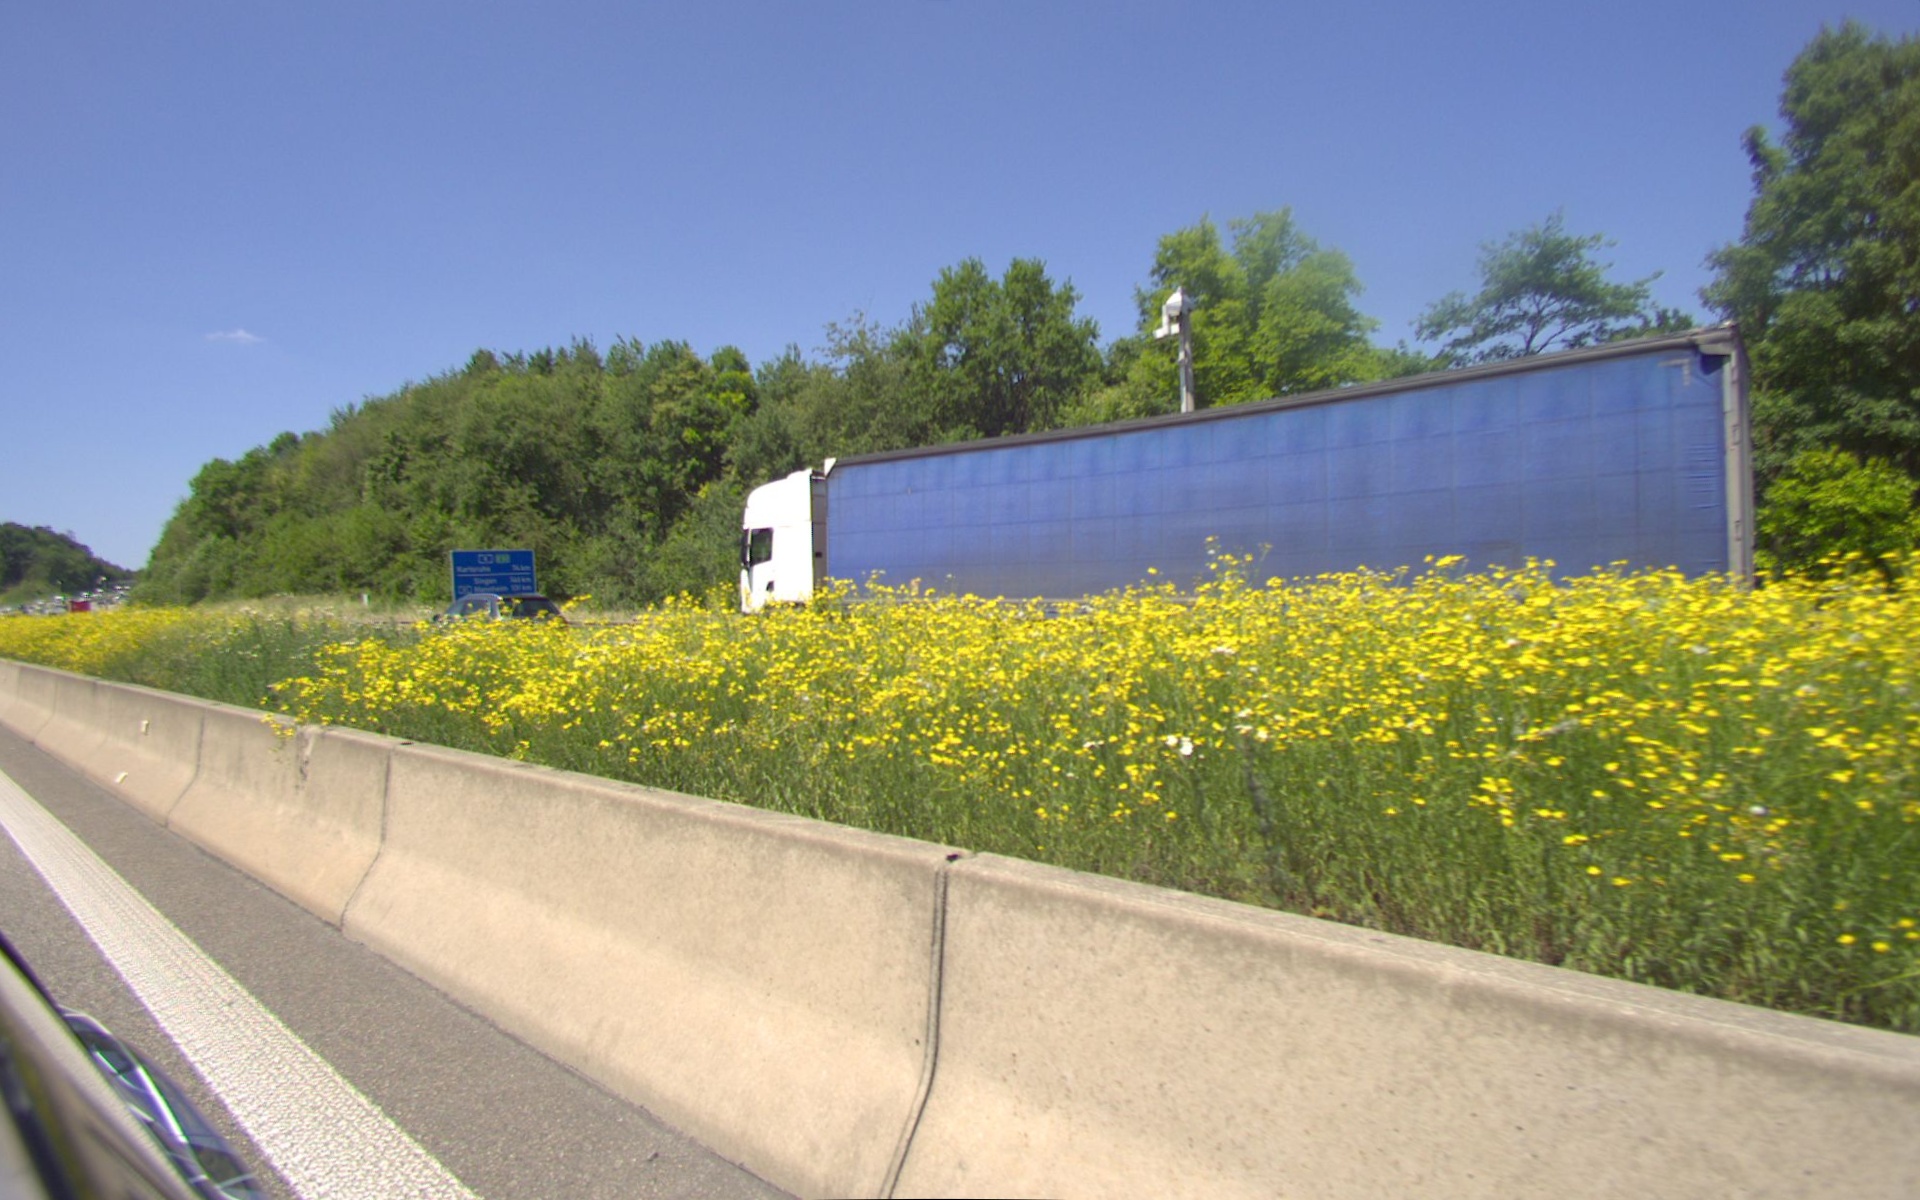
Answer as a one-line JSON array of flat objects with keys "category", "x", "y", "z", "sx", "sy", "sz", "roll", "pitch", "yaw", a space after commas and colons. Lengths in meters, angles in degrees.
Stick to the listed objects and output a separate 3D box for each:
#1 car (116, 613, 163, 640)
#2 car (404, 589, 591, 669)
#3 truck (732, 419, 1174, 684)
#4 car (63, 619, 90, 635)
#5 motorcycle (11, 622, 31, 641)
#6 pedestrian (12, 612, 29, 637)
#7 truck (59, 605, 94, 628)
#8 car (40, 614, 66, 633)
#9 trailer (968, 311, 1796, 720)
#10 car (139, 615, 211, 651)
[{"category": "car", "x": -57.241, "y": 1.839, "z": 70.580, "sx": 4.320, "sy": 1.778, "sz": 1.862, "roll": -2, "pitch": 0, "yaw": 41}, {"category": "car", "x": -10.255, "y": 0.600, "z": 22.283, "sx": 4.636, "sy": 1.573, "sz": 1.973, "roll": -1, "pitch": 0, "yaw": 41}, {"category": "truck", "x": -0.512, "y": -0.654, "z": 18.667, "sx": 8.408, "sy": 3.886, "sz": 2.720, "roll": -1, "pitch": 0, "yaw": 41}, {"category": "car", "x": -93.996, "y": 2.819, "z": 107.655, "sx": 4.118, "sy": 1.641, "sz": 1.756, "roll": -1, "pitch": -1, "yaw": 43}, {"category": "motorcycle", "x": -52.819, "y": 1.767, "z": 56.912, "sx": 1.475, "sy": 1.049, "sz": 0.660, "roll": -2, "pitch": 0, "yaw": 41}, {"category": "pedestrian", "x": -52.829, "y": 1.370, "z": 56.910, "sx": 0.531, "sy": 1.375, "sz": 0.655, "roll": -2, "pitch": -1, "yaw": 41}, {"category": "truck", "x": -150.252, "y": 2.752, "z": 172.005, "sx": 3.875, "sy": 3.746, "sz": 16.757, "roll": 0, "pitch": 0, "yaw": -43}, {"category": "car", "x": -126.618, "y": 3.255, "z": 141.293, "sx": 5.975, "sy": 2.643, "sz": 2.133, "roll": -1, "pitch": -1, "yaw": 43}, {"category": "trailer", "x": 4.895, "y": -0.728, "z": 13.986, "sx": 10.164, "sy": 3.886, "sz": 2.752, "roll": -1, "pitch": 0, "yaw": 41}, {"category": "car", "x": -34.720, "y": 1.440, "z": 44.732, "sx": 3.998, "sy": 1.500, "sz": 1.786, "roll": -1, "pitch": 0, "yaw": 41}]
